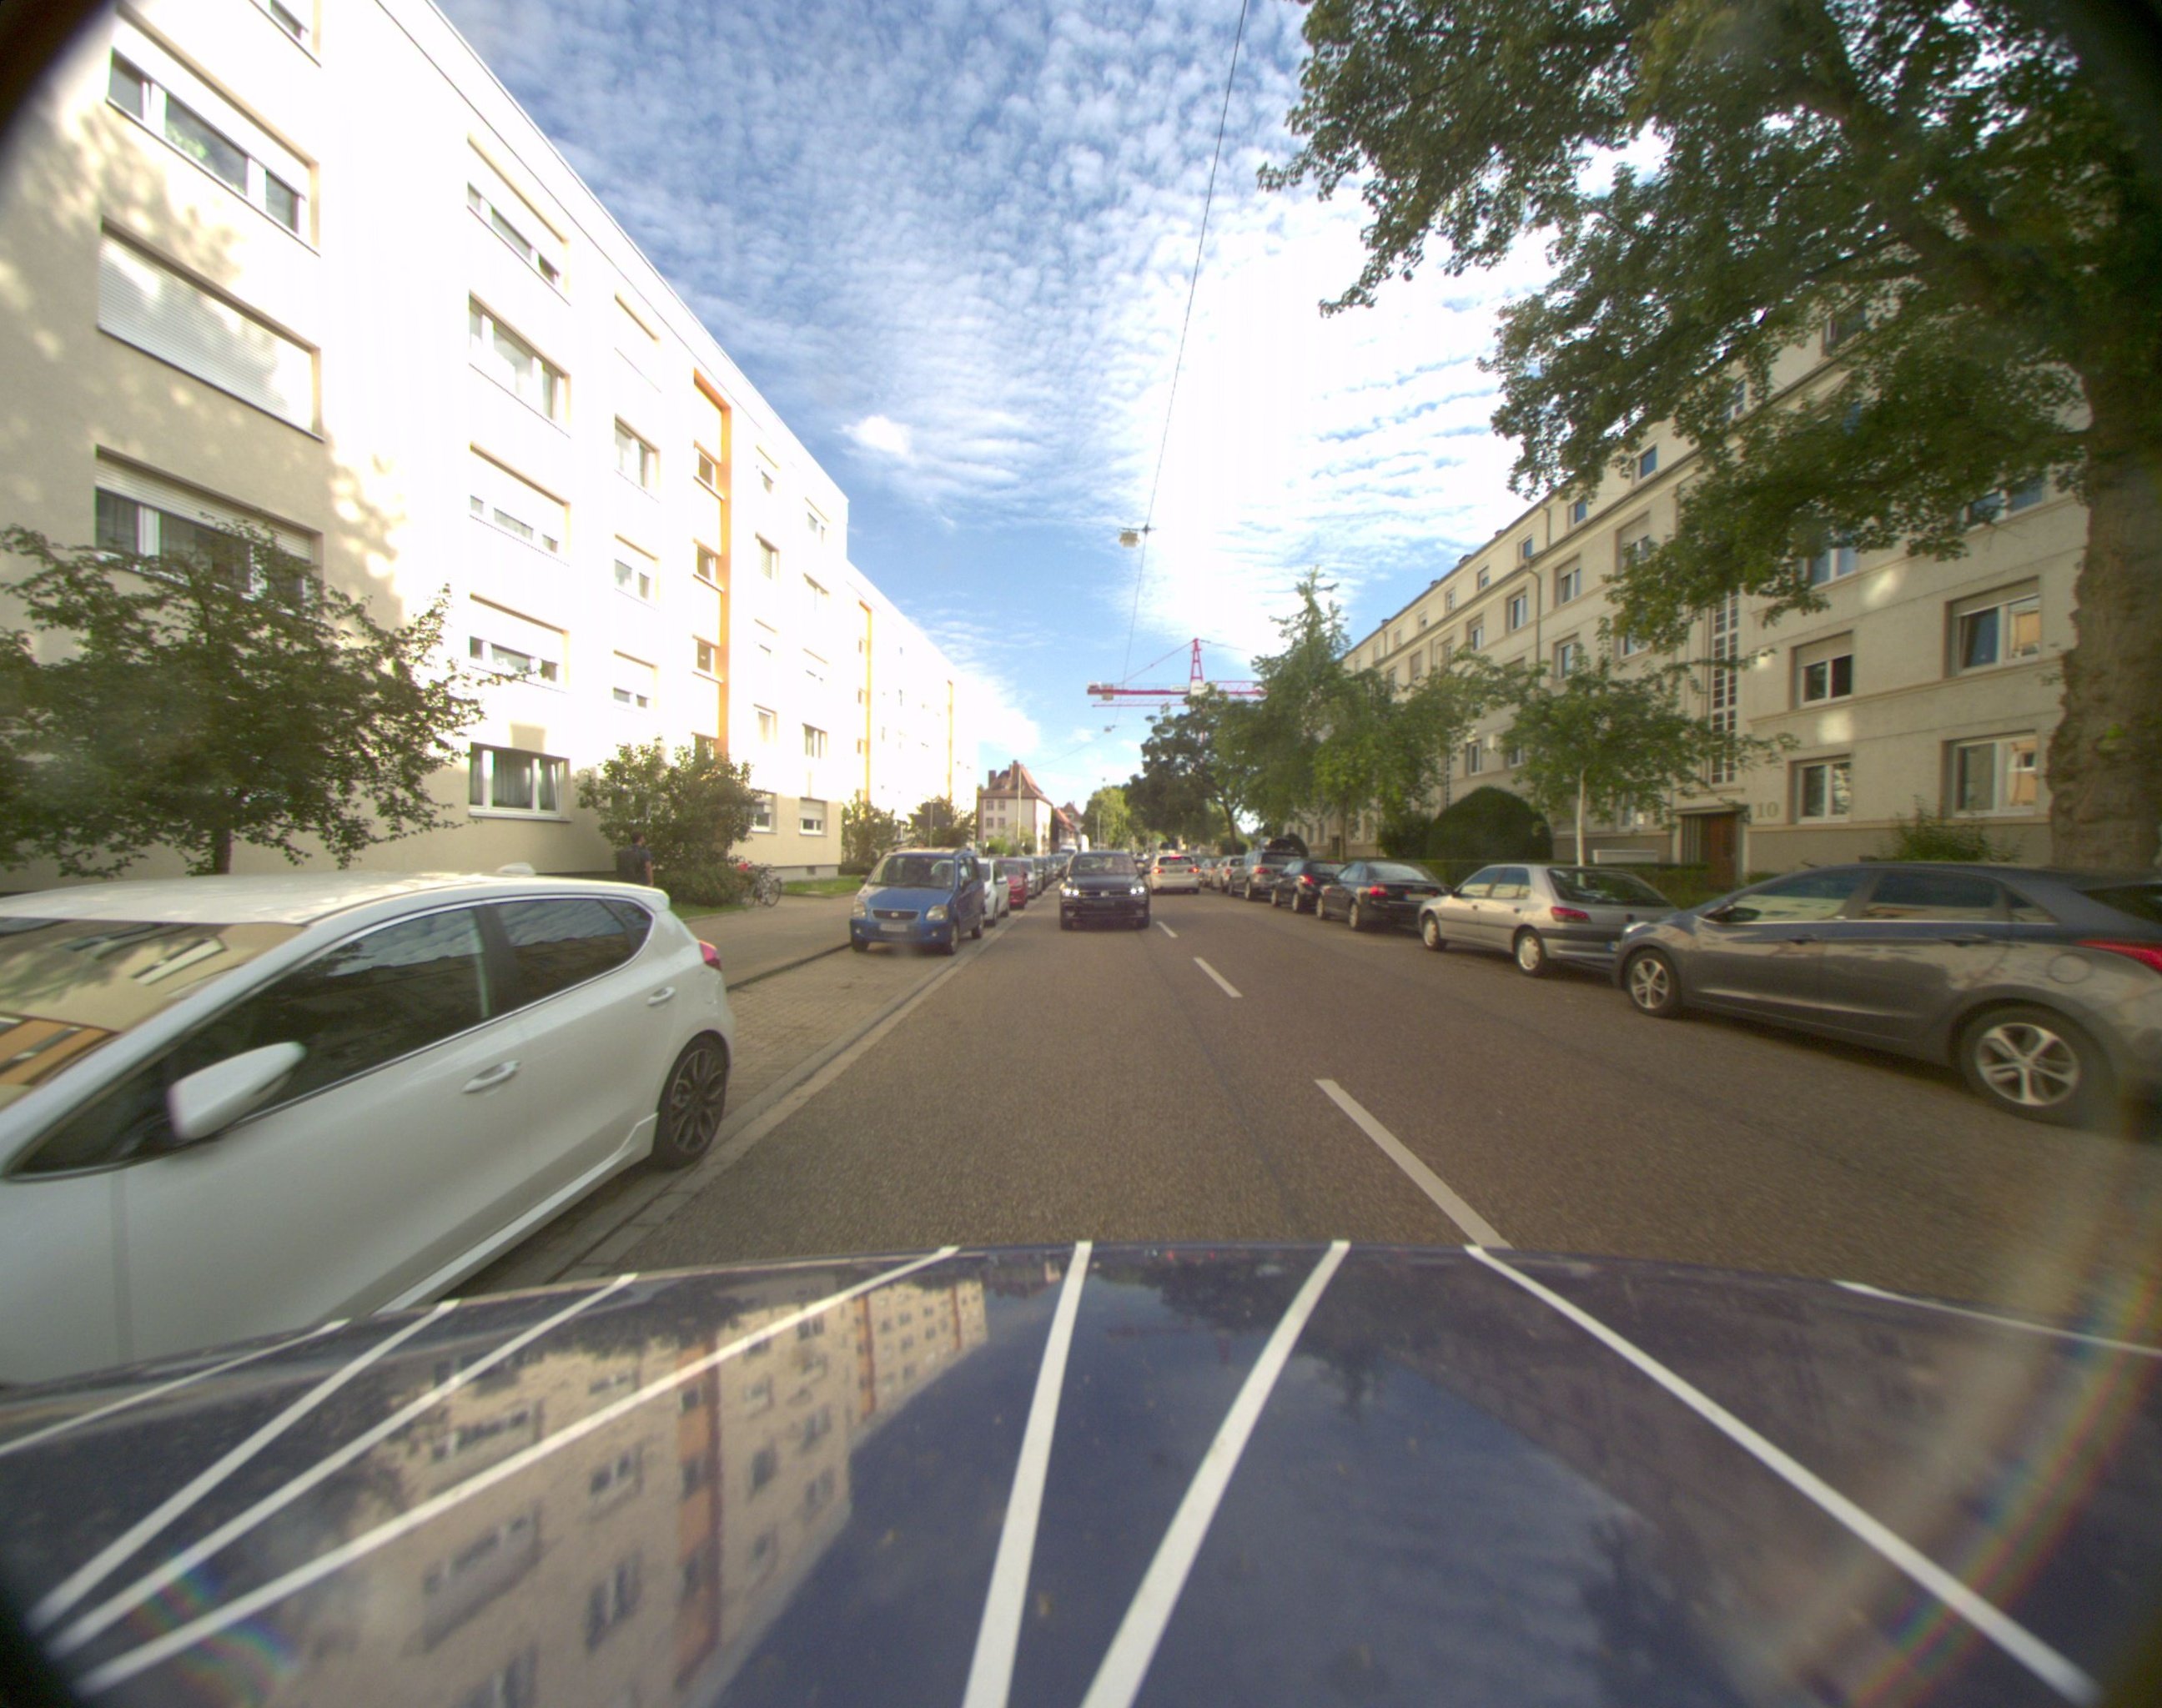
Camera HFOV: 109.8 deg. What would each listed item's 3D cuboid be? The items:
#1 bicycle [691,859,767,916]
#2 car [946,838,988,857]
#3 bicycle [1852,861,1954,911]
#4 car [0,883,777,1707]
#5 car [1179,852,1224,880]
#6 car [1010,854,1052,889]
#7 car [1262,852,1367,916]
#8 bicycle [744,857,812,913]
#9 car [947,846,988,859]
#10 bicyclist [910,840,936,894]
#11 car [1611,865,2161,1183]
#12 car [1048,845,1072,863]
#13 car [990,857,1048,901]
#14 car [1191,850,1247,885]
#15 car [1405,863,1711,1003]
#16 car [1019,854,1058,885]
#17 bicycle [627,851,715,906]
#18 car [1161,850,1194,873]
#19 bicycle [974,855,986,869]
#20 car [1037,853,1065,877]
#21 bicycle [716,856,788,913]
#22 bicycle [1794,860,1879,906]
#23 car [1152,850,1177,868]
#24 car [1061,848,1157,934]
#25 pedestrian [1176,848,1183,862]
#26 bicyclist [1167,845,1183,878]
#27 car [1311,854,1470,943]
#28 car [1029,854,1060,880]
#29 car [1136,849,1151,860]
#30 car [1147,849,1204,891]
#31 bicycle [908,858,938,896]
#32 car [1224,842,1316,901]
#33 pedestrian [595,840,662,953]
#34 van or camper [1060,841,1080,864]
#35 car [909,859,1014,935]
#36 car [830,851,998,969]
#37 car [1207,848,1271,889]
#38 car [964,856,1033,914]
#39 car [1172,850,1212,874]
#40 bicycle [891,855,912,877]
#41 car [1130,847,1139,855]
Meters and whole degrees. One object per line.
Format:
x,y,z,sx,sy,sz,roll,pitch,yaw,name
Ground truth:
-8.904,0.796,19.366,0.597,1.283,2.635,3,1,1,bicycle
-13.247,-0.759,88.654,4.275,2.179,2.368,0,1,9,car
18.323,0.689,16.977,0.570,1.043,1.577,0,0,0,bicycle
-2.817,0.953,2.333,1.732,1.479,4.642,1,1,2,car
6.737,0.614,42.770,1.742,1.385,4.665,3,0,0,car
-2.246,0.753,35.265,1.666,1.482,3.941,2,0,0,car
6.334,0.754,21.063,1.689,1.472,4.119,4,1,2,car
-7.657,0.742,19.357,0.605,1.283,2.635,1,1,1,bicycle
-12.764,-0.205,85.485,4.084,1.473,1.872,0,1,10,car
-4.914,0.397,23.649,0.625,1.668,0.893,0,1,0,bicyclist
5.961,0.877,5.291,1.618,1.460,4.013,3,0,-1,car
-1.880,0.015,68.304,1.767,1.515,4.330,2,1,3,car
-2.251,0.888,28.479,1.666,1.408,4.059,2,1,2,car
6.701,0.611,37.305,1.860,1.477,4.944,3,0,1,car
6.138,0.901,10.412,1.604,1.410,3.963,3,0,-1,car
-2.200,0.798,40.497,1.688,1.477,4.293,2,1,1,car
-10.344,0.579,19.317,0.728,1.283,2.635,-1,1,1,bicycle
7.140,0.536,56.792,1.860,1.477,4.798,4,0,1,car
-7.517,0.566,56.485,0.597,0.992,1.692,0,2,1,bicycle
-1.952,0.684,50.863,1.688,1.492,3.873,1,0,0,car
-8.302,0.730,19.332,0.605,1.283,2.635,2,1,1,bicycle
18.389,0.690,18.540,0.543,1.050,1.541,0,0,0,bicycle
7.372,0.423,67.572,1.825,1.477,4.369,2,0,1,car
0.634,0.712,16.822,1.859,1.673,4.000,-1,0,3,car
12.238,0.145,94.413,0.743,1.758,0.775,-1,1,0,pedestrian
4.611,0.373,37.266,0.643,1.591,0.990,-1,1,1,bicyclist
6.213,0.795,15.845,1.689,1.472,4.452,4,1,4,car
-2.135,0.746,45.615,1.704,1.455,4.179,1,0,-1,car
8.352,0.060,101.915,1.744,1.493,4.009,-1,0,0,car
3.577,0.566,29.395,1.863,1.520,4.011,0,0,2,car
-4.911,0.693,23.651,0.525,1.128,1.929,0,1,0,bicycle
6.421,0.526,26.364,1.882,1.782,4.970,2,0,0,car
-7.048,0.640,11.862,0.543,1.711,0.771,1,1,6,pedestrian
-1.233,-0.208,89.920,2.165,2.512,5.913,3,0,1,van or camper
-2.631,0.905,17.649,1.733,1.452,4.116,1,1,0,car
-2.666,0.811,13.105,1.732,1.640,4.117,2,1,3,car
6.614,0.563,32.218,1.860,1.564,4.460,2,0,2,car
-2.413,0.873,23.116,1.733,1.506,4.190,1,1,-2,car
7.216,0.500,49.633,1.860,1.477,4.683,1,0,0,car
-9.017,0.591,38.233,0.503,1.024,2.095,3,1,1,bicycle
11.189,-0.591,159.247,1.834,1.659,4.084,-1,0,1,car
